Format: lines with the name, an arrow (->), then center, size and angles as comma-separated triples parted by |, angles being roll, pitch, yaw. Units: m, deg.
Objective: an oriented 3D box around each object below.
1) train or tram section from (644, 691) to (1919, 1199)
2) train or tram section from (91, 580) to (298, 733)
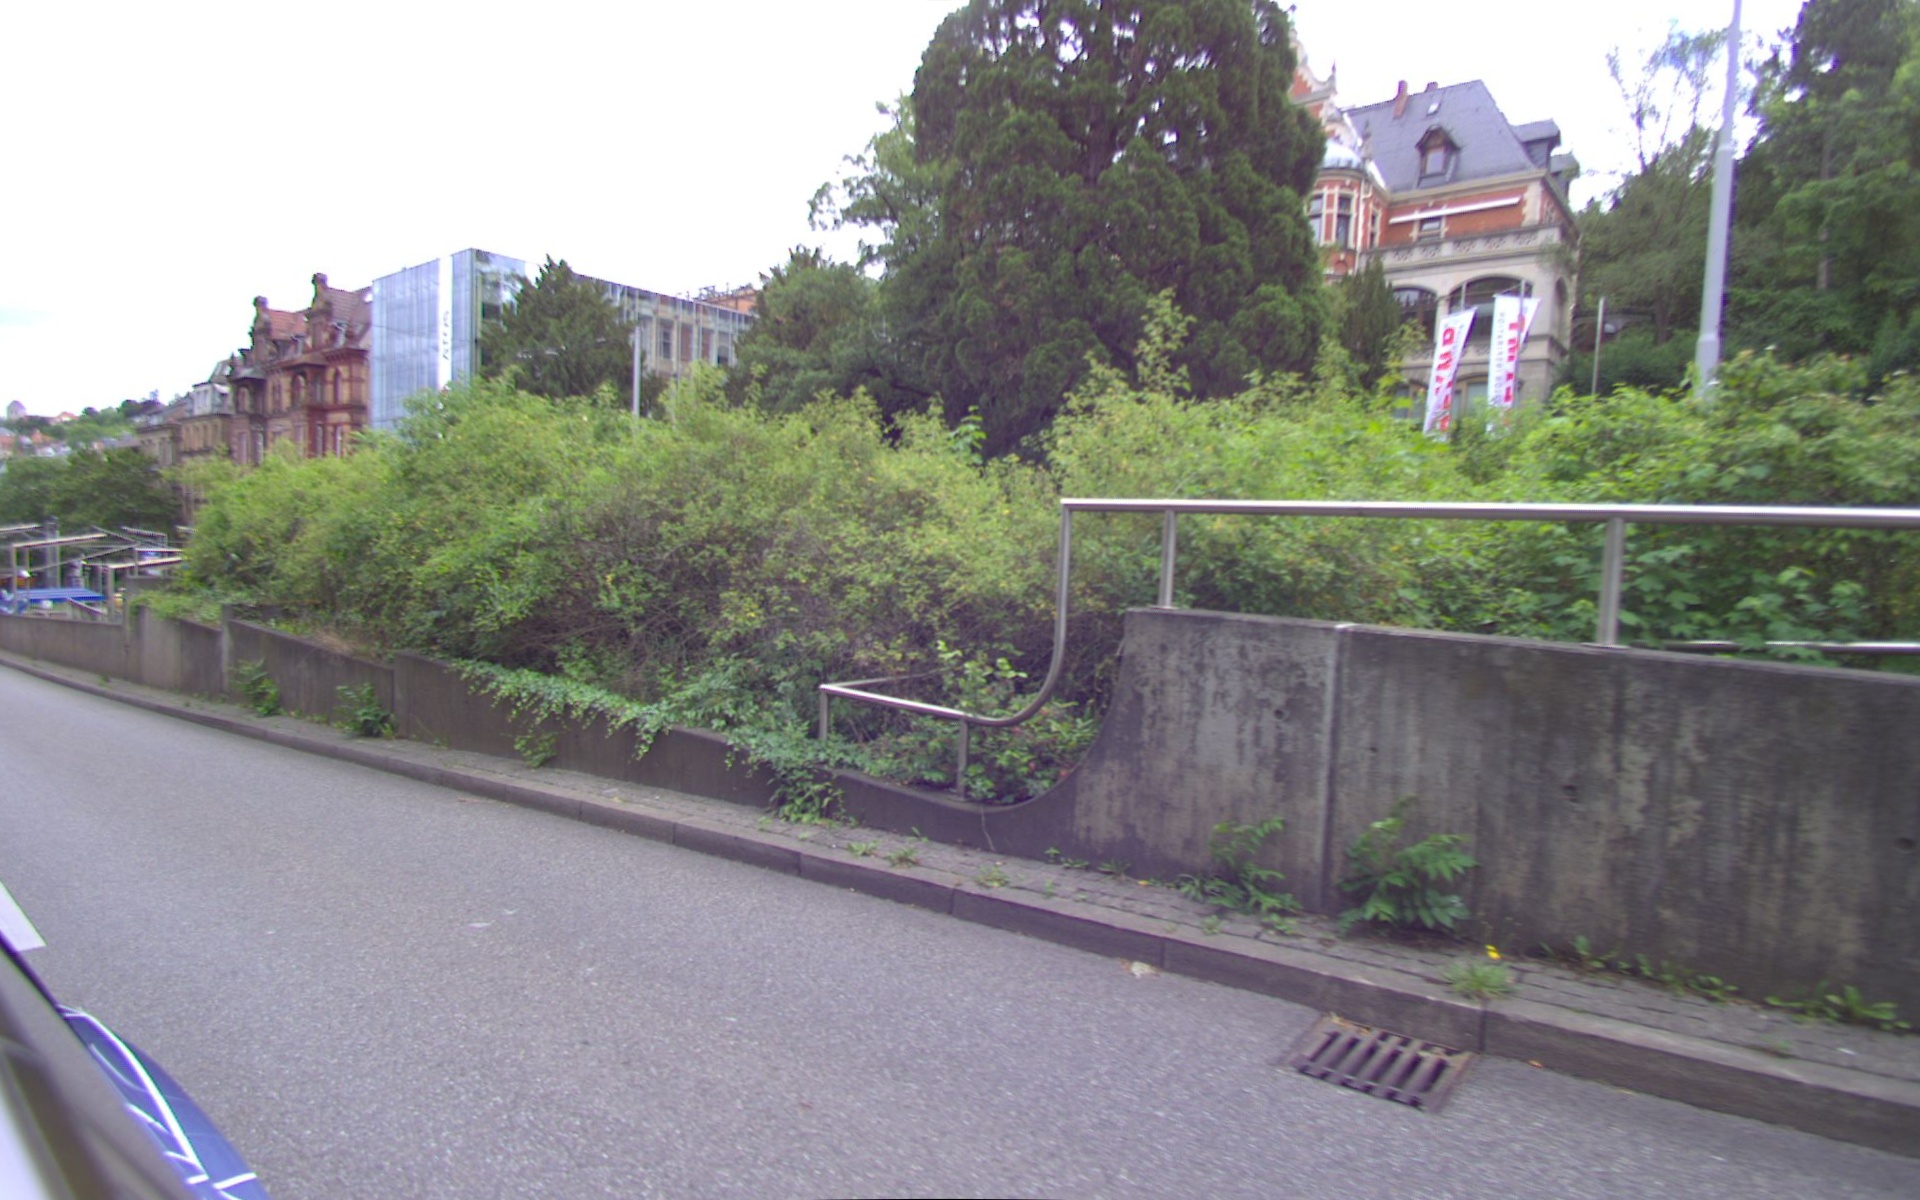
train or tram section -> 2.643, 3.074, 6.756 | 12.986, 3.535, 2.918 | 2, 2, 42
train or tram section -> -24.401, 1.390, 31.855 | 12.397, 3.569, 2.918 | 4, 3, 42
